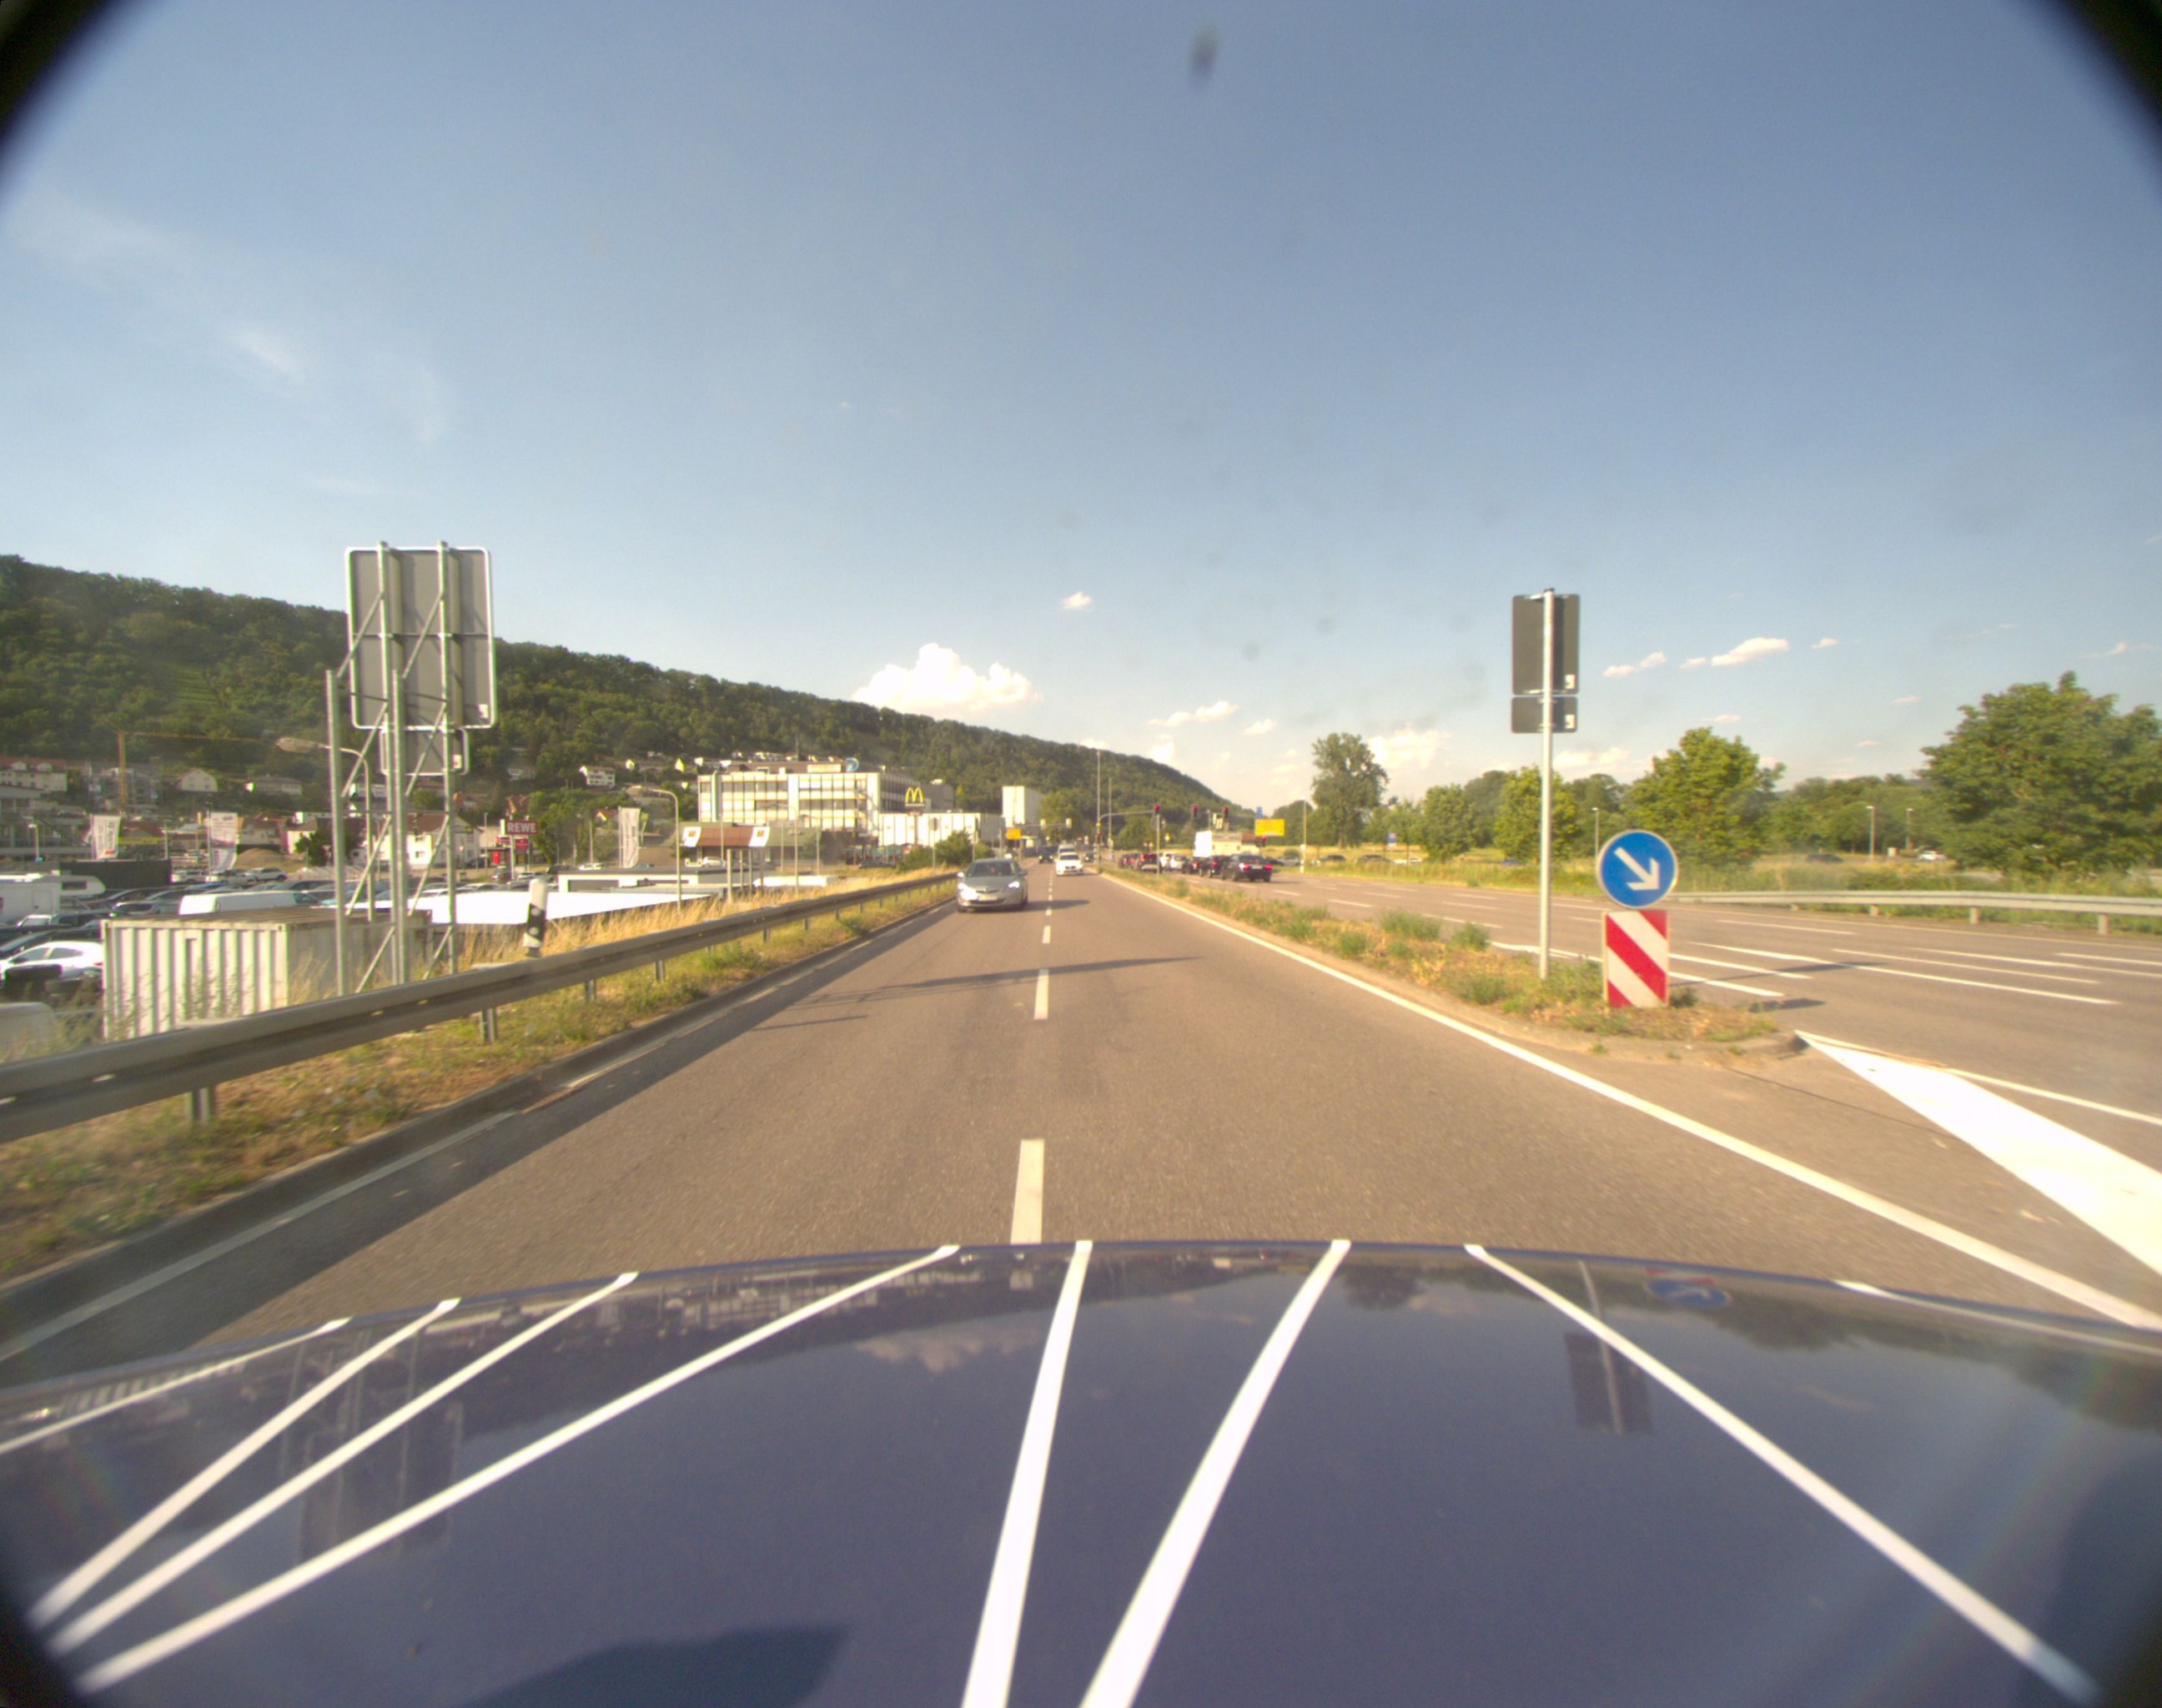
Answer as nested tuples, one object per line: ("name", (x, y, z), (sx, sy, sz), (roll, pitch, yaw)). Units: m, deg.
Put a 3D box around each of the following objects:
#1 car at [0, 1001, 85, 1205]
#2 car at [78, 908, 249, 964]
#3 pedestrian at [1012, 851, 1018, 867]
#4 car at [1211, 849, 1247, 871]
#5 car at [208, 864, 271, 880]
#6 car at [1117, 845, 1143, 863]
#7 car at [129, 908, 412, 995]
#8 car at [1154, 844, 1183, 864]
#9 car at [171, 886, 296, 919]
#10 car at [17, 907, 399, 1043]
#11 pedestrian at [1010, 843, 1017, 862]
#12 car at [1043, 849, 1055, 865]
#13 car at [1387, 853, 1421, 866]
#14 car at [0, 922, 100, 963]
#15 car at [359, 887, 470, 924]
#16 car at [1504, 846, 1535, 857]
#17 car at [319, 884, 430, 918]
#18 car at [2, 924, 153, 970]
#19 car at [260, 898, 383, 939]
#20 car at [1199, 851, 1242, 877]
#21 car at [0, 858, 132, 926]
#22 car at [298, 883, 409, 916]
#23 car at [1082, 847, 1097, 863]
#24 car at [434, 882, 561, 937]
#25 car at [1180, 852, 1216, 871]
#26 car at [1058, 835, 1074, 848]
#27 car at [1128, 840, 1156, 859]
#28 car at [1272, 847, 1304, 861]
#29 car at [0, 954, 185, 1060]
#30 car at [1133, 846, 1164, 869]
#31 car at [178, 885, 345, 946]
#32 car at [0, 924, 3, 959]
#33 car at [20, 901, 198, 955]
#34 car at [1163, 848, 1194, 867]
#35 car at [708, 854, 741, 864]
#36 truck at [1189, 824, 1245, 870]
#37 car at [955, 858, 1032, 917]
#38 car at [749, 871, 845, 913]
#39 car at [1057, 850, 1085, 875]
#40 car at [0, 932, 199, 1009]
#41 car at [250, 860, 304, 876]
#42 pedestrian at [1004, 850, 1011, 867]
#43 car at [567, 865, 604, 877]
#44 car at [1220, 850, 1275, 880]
("car", (-14.295, 2.801, 7.664), (5.895, 2.002, 2.000), (-2, 2, 2))
("car", (-36.354, 3.203, 30.277), (1.759, 1.631, 3.999), (-2, 2, 3))
("pedestrian", (-6.802, 0.518, 77.944), (0.573, 1.606, 0.622), (0, 2, -6))
("car", (10.918, 0.416, 56.207), (1.767, 1.520, 3.998), (1, 2, -1))
("car", (-88.666, 1.860, 80.176), (1.837, 1.554, 4.338), (0, 1, -2))
("car", (4.354, -0.016, 67.779), (1.795, 1.458, 4.926), (-1, 2, -3))
("car", (-18.662, 2.210, 17.681), (4.332, 1.738, 2.133), (-2, -4, 1))
("car", (7.972, -0.049, 69.612), (1.999, 1.669, 4.804), (0, 2, -2))
("car", (-49.253, 2.766, 44.287), (1.756, 1.452, 4.487), (-1, 2, 28))
("car", (-14.124, 1.917, 12.495), (3.997, 1.740, 1.901), (-2, 2, 1))
("pedestrian", (-6.612, -0.180, 74.651), (0.620, 1.872, 0.861), (0, 2, -2))
("car", (-4.655, 0.364, 110.505), (1.795, 2.156, 4.587), (-1, 2, -3))
("car", (46.107, 0.766, 108.433), (4.260, 1.609, 1.590), (-3, 2, -10))
("car", (-36.365, 3.072, 26.211), (1.273, 1.118, 2.768), (-2, 2, 22))
("car", (-37.386, 2.830, 42.814), (1.759, 1.557, 4.827), (-2, 2, 3))
("car", (57.184, -0.314, 99.108), (3.422, 1.325, 1.379), (-3, 2, -7))
("car", (-41.689, 2.720, 44.984), (1.757, 1.557, 4.484), (-2, 2, 16))
("car", (-33.605, 3.080, 25.532), (1.273, 1.118, 2.768), (-2, 2, 22))
("car", (-35.510, 2.988, 35.660), (1.766, 1.494, 3.674), (-2, 2, 10))
("car", (8.601, 0.575, 47.279), (1.707, 1.465, 4.243), (1, 1, -2))
("car", (-43.312, 1.544, 31.074), (1.759, 2.535, 5.468), (-2, 2, 3))
("car", (-44.268, 2.721, 46.398), (1.757, 1.557, 4.485), (-2, 2, 21))
("car", (1.222, 0.091, 111.138), (1.795, 2.156, 4.587), (-1, 2, -3))
("car", (-26.262, 2.451, 34.471), (1.759, 1.941, 4.827), (-2, 2, 3))
("car", (8.448, 0.516, 55.340), (1.706, 1.276, 4.817), (0, 1, -2))
("car", (-1.622, -1.436, 84.639), (1.691, 1.383, 3.882), (-1, 2, 0))
("car", (4.917, -0.342, 61.840), (1.785, 1.529, 4.571), (0, 0, -1))
("car", (27.925, -0.033, 102.588), (3.700, 1.609, 1.590), (-3, 2, -8))
("car", (-23.311, 3.470, 17.591), (1.729, 1.638, 3.768), (-3, 2, -23))
("car", (4.840, 0.218, 55.173), (1.785, 1.511, 3.998), (1, 2, -1))
("car", (-37.959, 2.772, 35.462), (1.759, 2.234, 5.296), (-2, 2, 3))
("car", (-39.384, 3.166, 25.829), (1.357, 1.220, 2.873), (-2, 2, 22))
("car", (-38.658, 2.892, 30.392), (1.759, 1.631, 3.999), (-2, 2, 3))
("car", (8.087, 0.286, 63.415), (1.706, 1.397, 5.079), (0, 2, -2))
("car", (-53.710, 0.711, 114.430), (3.997, 1.449, 1.860), (0, 2, 0))
("truck", (11.954, -0.714, 67.698), (2.940, 3.670, 10.495), (1, 2, 0))
("car", (-2.400, 0.871, 21.675), (1.691, 1.383, 3.882), (-1, 2, 0))
("car", (-14.122, 1.894, 37.933), (3.997, 1.806, 1.834), (-2, 2, 1))
("car", (-0.660, 0.566, 53.024), (1.825, 1.552, 3.999), (-2, 2, 0))
("car", (-27.621, 3.228, 21.293), (3.675, 1.726, 1.893), (-2, 2, 5))
("car", (-90.691, 1.555, 85.786), (1.791, 1.646, 3.998), (-2, 2, -2))
("pedestrian", (-7.419, 0.448, 76.667), (0.532, 1.740, 0.537), (3, 2, 4))
("car", (-64.768, 2.226, 99.392), (3.649, 1.412, 1.689), (-2, 2, 4))
("car", (8.731, 0.523, 40.162), (1.720, 1.455, 4.725), (1, 0, -2))
